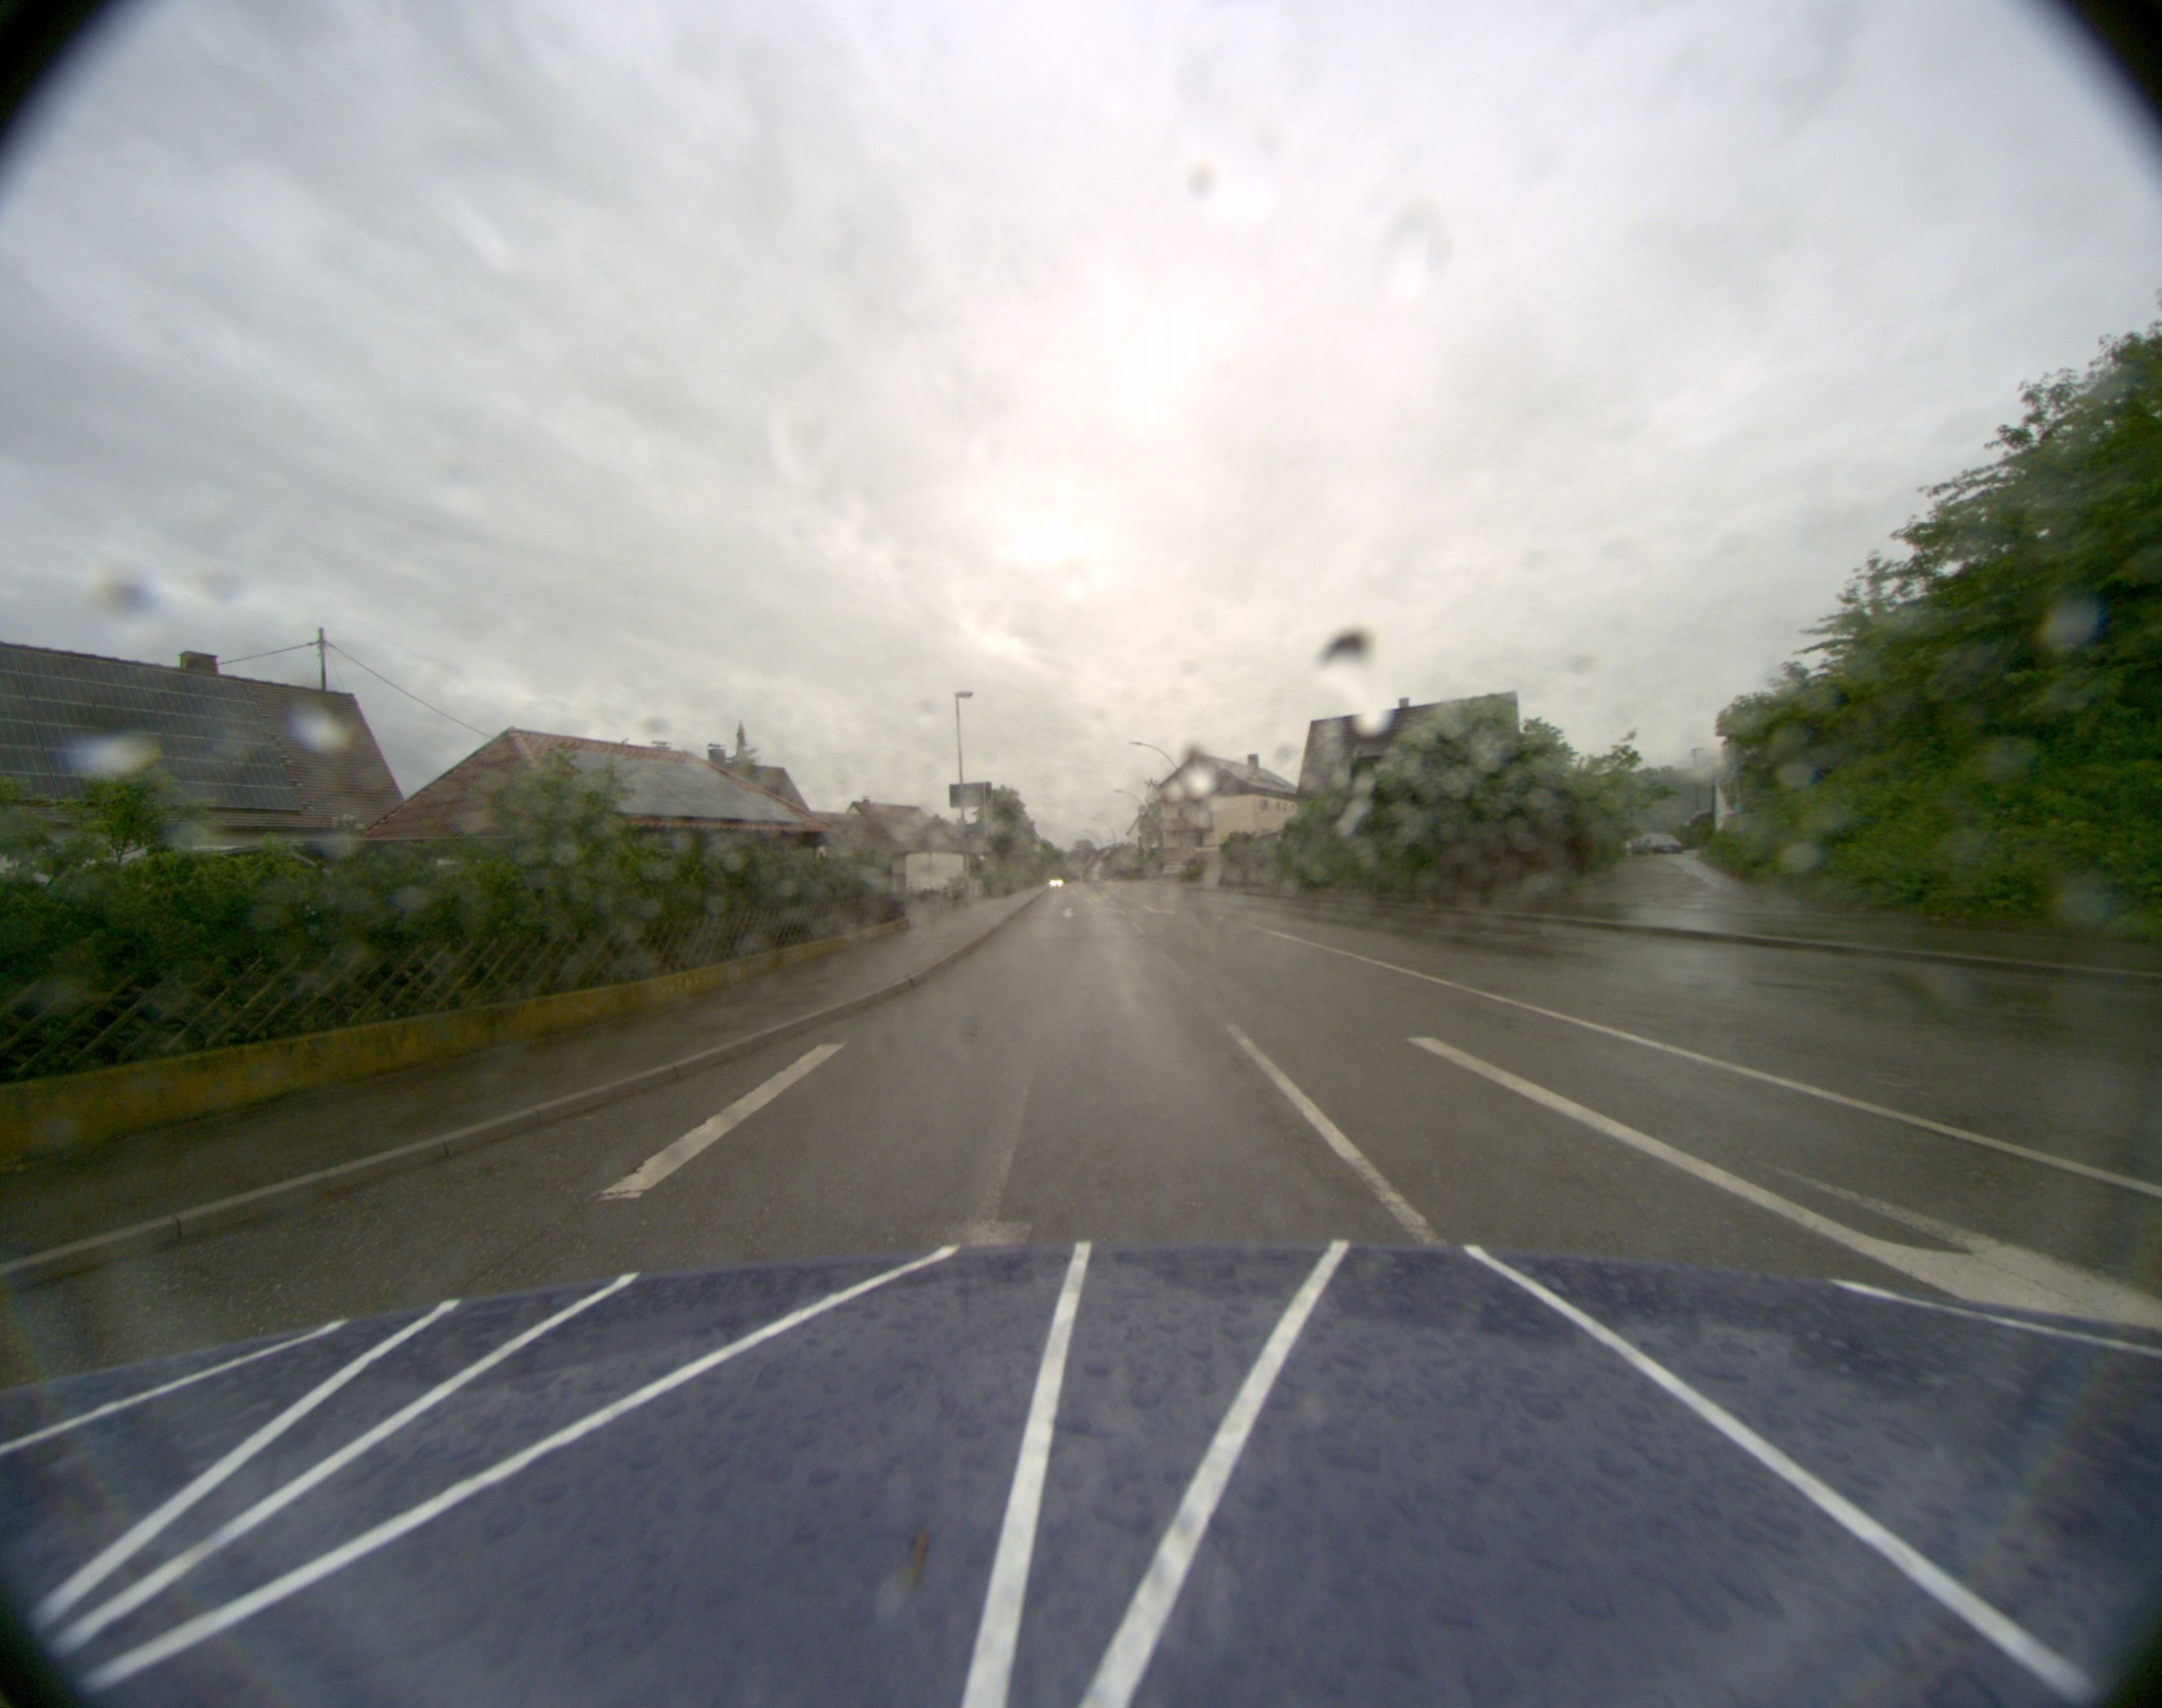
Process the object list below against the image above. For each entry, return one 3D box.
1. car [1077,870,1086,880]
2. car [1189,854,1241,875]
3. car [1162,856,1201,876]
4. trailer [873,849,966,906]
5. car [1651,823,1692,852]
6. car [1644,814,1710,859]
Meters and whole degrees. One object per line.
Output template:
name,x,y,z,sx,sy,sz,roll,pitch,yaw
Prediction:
car,0.031,4.687,169.884,1.932,1.864,4.000,-3,0,0
car,10.793,0.829,61.155,3.661,1.510,1.758,-3,0,35
car,8.875,1.048,67.033,1.864,1.510,4.007,-3,0,32
trailer,-7.750,1.063,36.987,1.645,2.502,4.712,-3,-1,28
car,41.111,-1.160,52.869,1.995,1.848,4.008,-3,0,41
car,22.953,-0.684,29.229,1.706,1.579,3.669,-2,0,42
